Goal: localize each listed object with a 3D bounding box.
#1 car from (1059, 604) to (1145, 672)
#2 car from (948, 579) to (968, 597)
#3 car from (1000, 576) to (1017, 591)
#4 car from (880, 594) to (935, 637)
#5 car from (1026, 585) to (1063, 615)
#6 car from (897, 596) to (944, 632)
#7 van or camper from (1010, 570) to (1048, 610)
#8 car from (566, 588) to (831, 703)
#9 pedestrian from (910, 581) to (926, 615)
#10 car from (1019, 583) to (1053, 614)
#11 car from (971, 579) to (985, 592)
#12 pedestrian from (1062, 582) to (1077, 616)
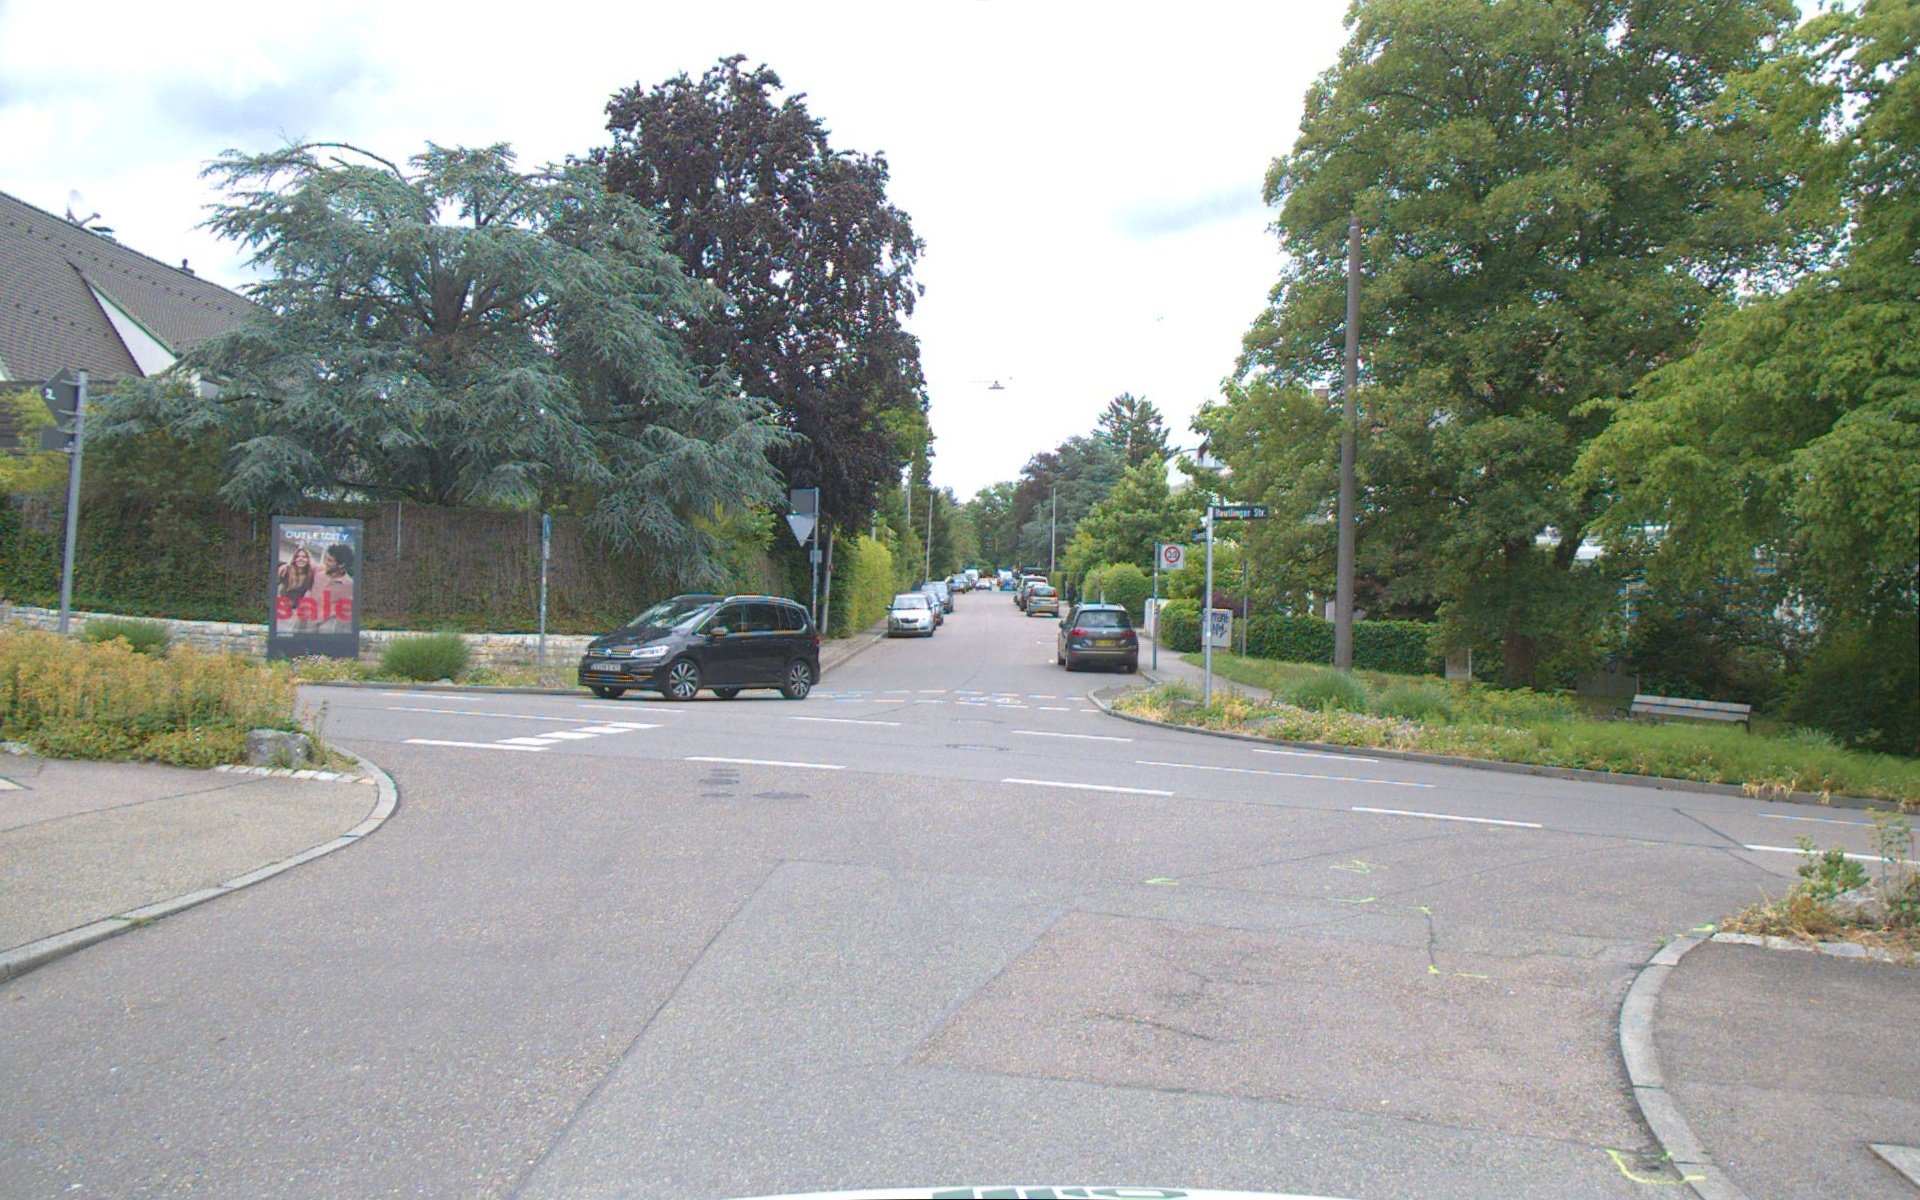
[{"bbox_3d":[3.429,0.890,40.595,1.780,1.563,4.000,1,0,0],"label":"car"},{"bbox_3d":[-0.181,-1.065,149.118,1.680,1.488,3.657,3,0,1],"label":"car"},{"bbox_3d":[5.292,-1.788,182.212,1.778,1.601,4.000,1,0,1],"label":"car"},{"bbox_3d":[-1.881,0.558,60.524,1.907,1.467,3.999,1,0,-1],"label":"car"},{"bbox_3d":[4.279,-0.002,84.045,1.577,1.438,3.472,3,0,-2],"label":"car"},{"bbox_3d":[-1.676,0.598,71.187,1.907,1.467,3.999,1,0,-1],"label":"car"},{"bbox_3d":[4.371,-0.599,105.760,2.070,2.447,5.244,1,0,-1],"label":"van or camper"},{"bbox_3d":[-4.044,0.694,26.306,1.814,1.640,4.301,1,0,31],"label":"car"},{"bbox_3d":[-2.657,-0.121,104.546,0.836,2.048,0.872,3,0,-5],"label":"pedestrian"},{"bbox_3d":[4.300,-0.066,93.695,1.711,1.668,3.727,1,0,-1],"label":"car"},{"bbox_3d":[2.150,-1.724,195.841,1.622,1.358,3.781,4,0,0],"label":"car"},{"bbox_3d":[6.315,-0.061,95.118,0.741,1.904,0.620,3,0,1],"label":"pedestrian"}]
